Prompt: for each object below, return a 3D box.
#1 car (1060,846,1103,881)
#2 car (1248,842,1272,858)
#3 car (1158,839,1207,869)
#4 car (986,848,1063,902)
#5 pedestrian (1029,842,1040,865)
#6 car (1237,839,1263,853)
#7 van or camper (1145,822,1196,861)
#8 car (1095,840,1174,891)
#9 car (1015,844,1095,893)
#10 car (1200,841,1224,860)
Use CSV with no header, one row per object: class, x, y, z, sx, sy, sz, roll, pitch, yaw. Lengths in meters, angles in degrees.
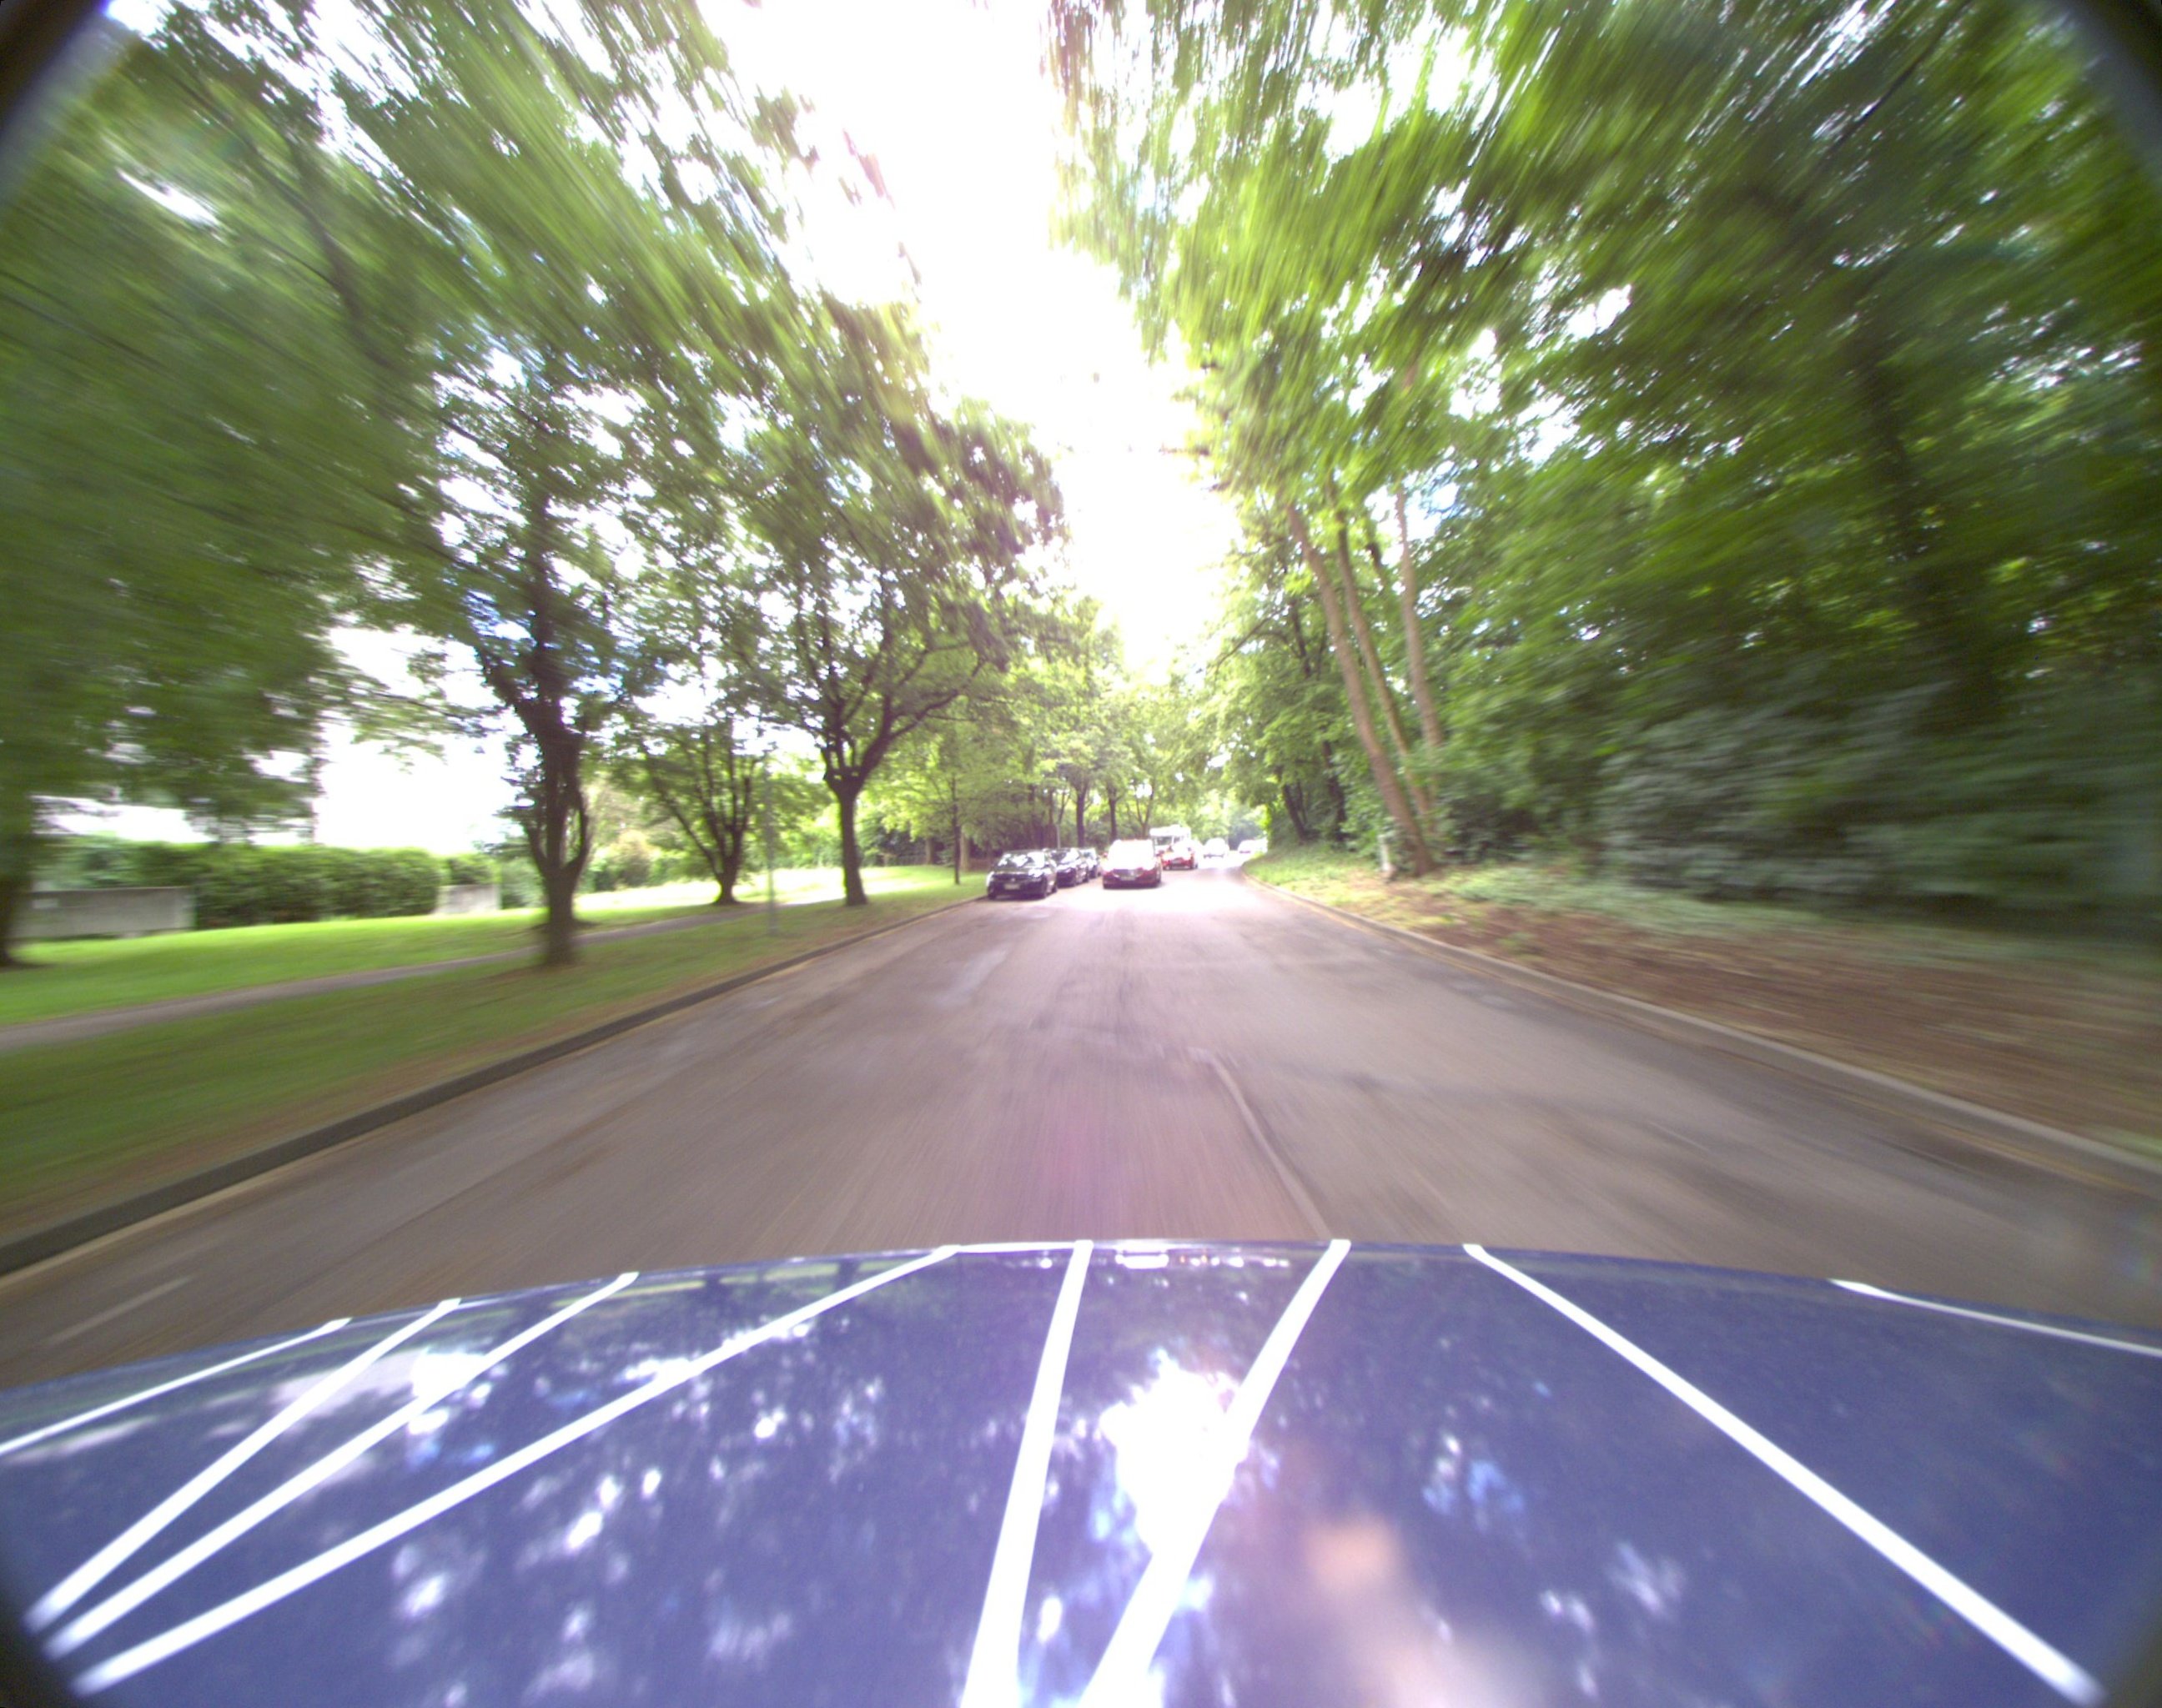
car,0.080,0.394,34.735,1.592,1.457,4.317,1,1,5
car,20.389,-0.472,86.399,1.765,1.559,4.052,-2,1,27
car,5.800,-0.043,42.774,1.955,1.464,4.682,-3,0,17
car,-1.671,0.600,23.718,1.685,1.456,3.899,-3,0,6
pedestrian,-3.303,-0.033,54.330,0.582,1.642,0.873,-3,1,4
car,20.675,-1.030,92.635,1.712,1.543,4.685,-3,1,30
van or camper,7.670,-1.103,64.296,2.427,2.962,7.402,-3,1,20
car,2.056,0.358,27.707,2.001,1.599,4.681,-3,0,14
car,-0.890,0.489,28.850,1.916,1.602,4.737,-3,0,11
car,11.342,-0.318,66.018,1.654,1.559,4.046,-3,0,5
